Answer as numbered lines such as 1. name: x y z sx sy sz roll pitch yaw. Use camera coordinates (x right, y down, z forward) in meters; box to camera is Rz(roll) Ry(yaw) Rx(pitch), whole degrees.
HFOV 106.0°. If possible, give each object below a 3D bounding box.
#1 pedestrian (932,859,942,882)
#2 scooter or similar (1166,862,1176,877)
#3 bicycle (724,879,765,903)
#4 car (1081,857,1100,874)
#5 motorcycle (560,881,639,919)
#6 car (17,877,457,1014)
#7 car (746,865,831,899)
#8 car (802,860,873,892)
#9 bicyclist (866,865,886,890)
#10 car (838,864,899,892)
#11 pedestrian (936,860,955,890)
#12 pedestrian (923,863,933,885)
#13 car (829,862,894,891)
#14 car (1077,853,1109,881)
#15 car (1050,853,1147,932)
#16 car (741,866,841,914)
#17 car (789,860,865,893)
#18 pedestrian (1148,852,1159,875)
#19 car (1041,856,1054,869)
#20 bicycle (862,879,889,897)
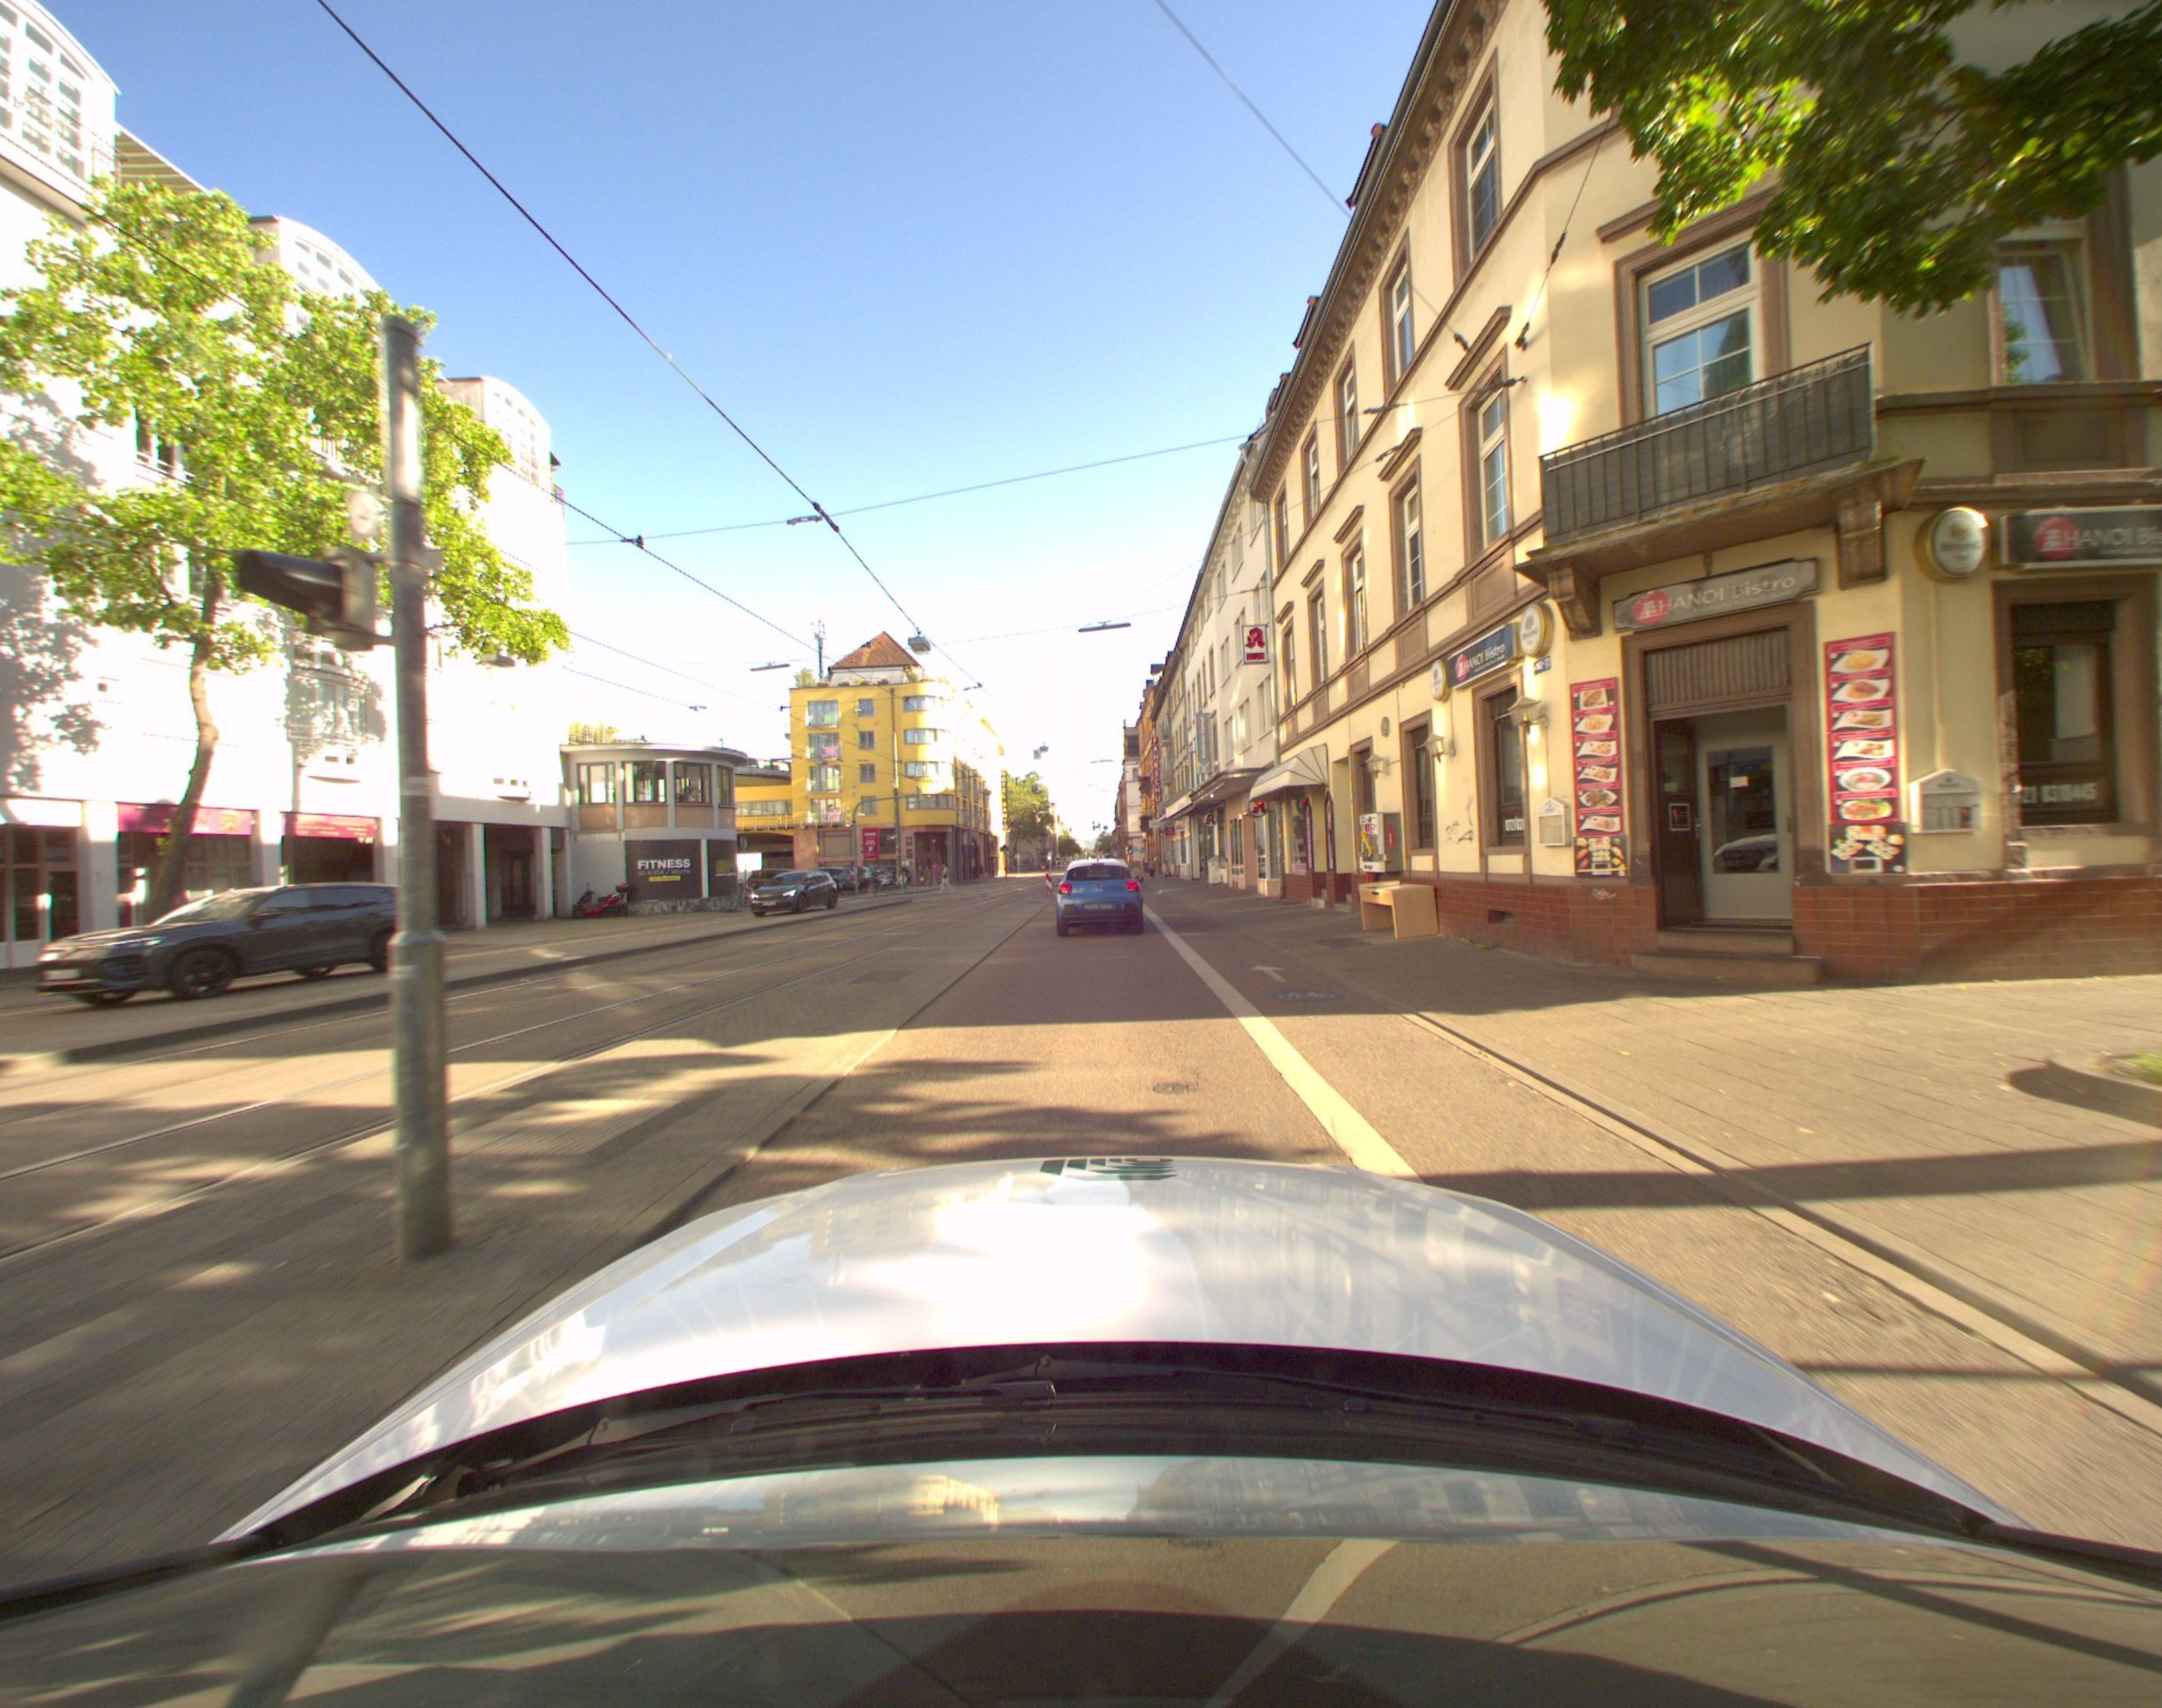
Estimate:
1. pedestrian: -12.187 1.386 68.850 0.695 1.858 0.837 -2 -1 -11
2. scooter or similar: 6.180 1.080 56.010 0.510 0.959 1.852 -2 0 3
3. bicycle: -15.817 1.725 38.360 0.677 1.002 2.688 -2 0 3
4. car: 1.028 1.299 89.088 1.986 1.743 4.001 -1 -2 1
5. motorcycle: -18.103 1.738 30.635 2.506 1.288 0.667 -2 -1 -2
6. car: -13.359 1.322 13.479 1.742 1.615 4.840 -4 -1 9
7. car: -16.172 1.519 45.175 3.977 1.674 1.956 -2 0 -2
8. car: -15.750 1.430 52.899 3.977 1.848 1.956 -2 0 -2
9. bicyclist: -11.164 1.290 44.360 0.727 1.291 1.181 -2 0 2
10. car: -15.724 1.743 60.523 3.977 1.848 1.956 -2 0 -2
11. pedestrian: -7.903 1.222 47.420 0.842 1.654 0.691 -2 -1 -27
12. pedestrian: -12.920 1.662 68.811 0.695 1.830 0.837 -2 -1 -11
13. car: -15.461 1.590 57.457 3.977 1.848 1.956 -2 0 -2
14. car: 0.820 0.875 53.031 1.986 1.743 4.001 -1 -2 1
15. car: 0.375 0.728 17.000 1.774 1.451 3.655 -1 0 2
16. car: -10.663 1.294 30.239 1.942 1.486 4.004 -4 0 4
17. car: -15.555 1.351 50.068 3.977 1.848 1.956 -2 0 -2
18. pedestrian: 5.215 0.689 58.910 0.691 1.651 0.680 -2 -1 0
19. car: -5.594 1.412 134.911 1.987 2.014 3.998 -1 -2 0
20. bicycle: -11.136 1.831 44.312 0.677 0.827 2.578 -2 0 3
